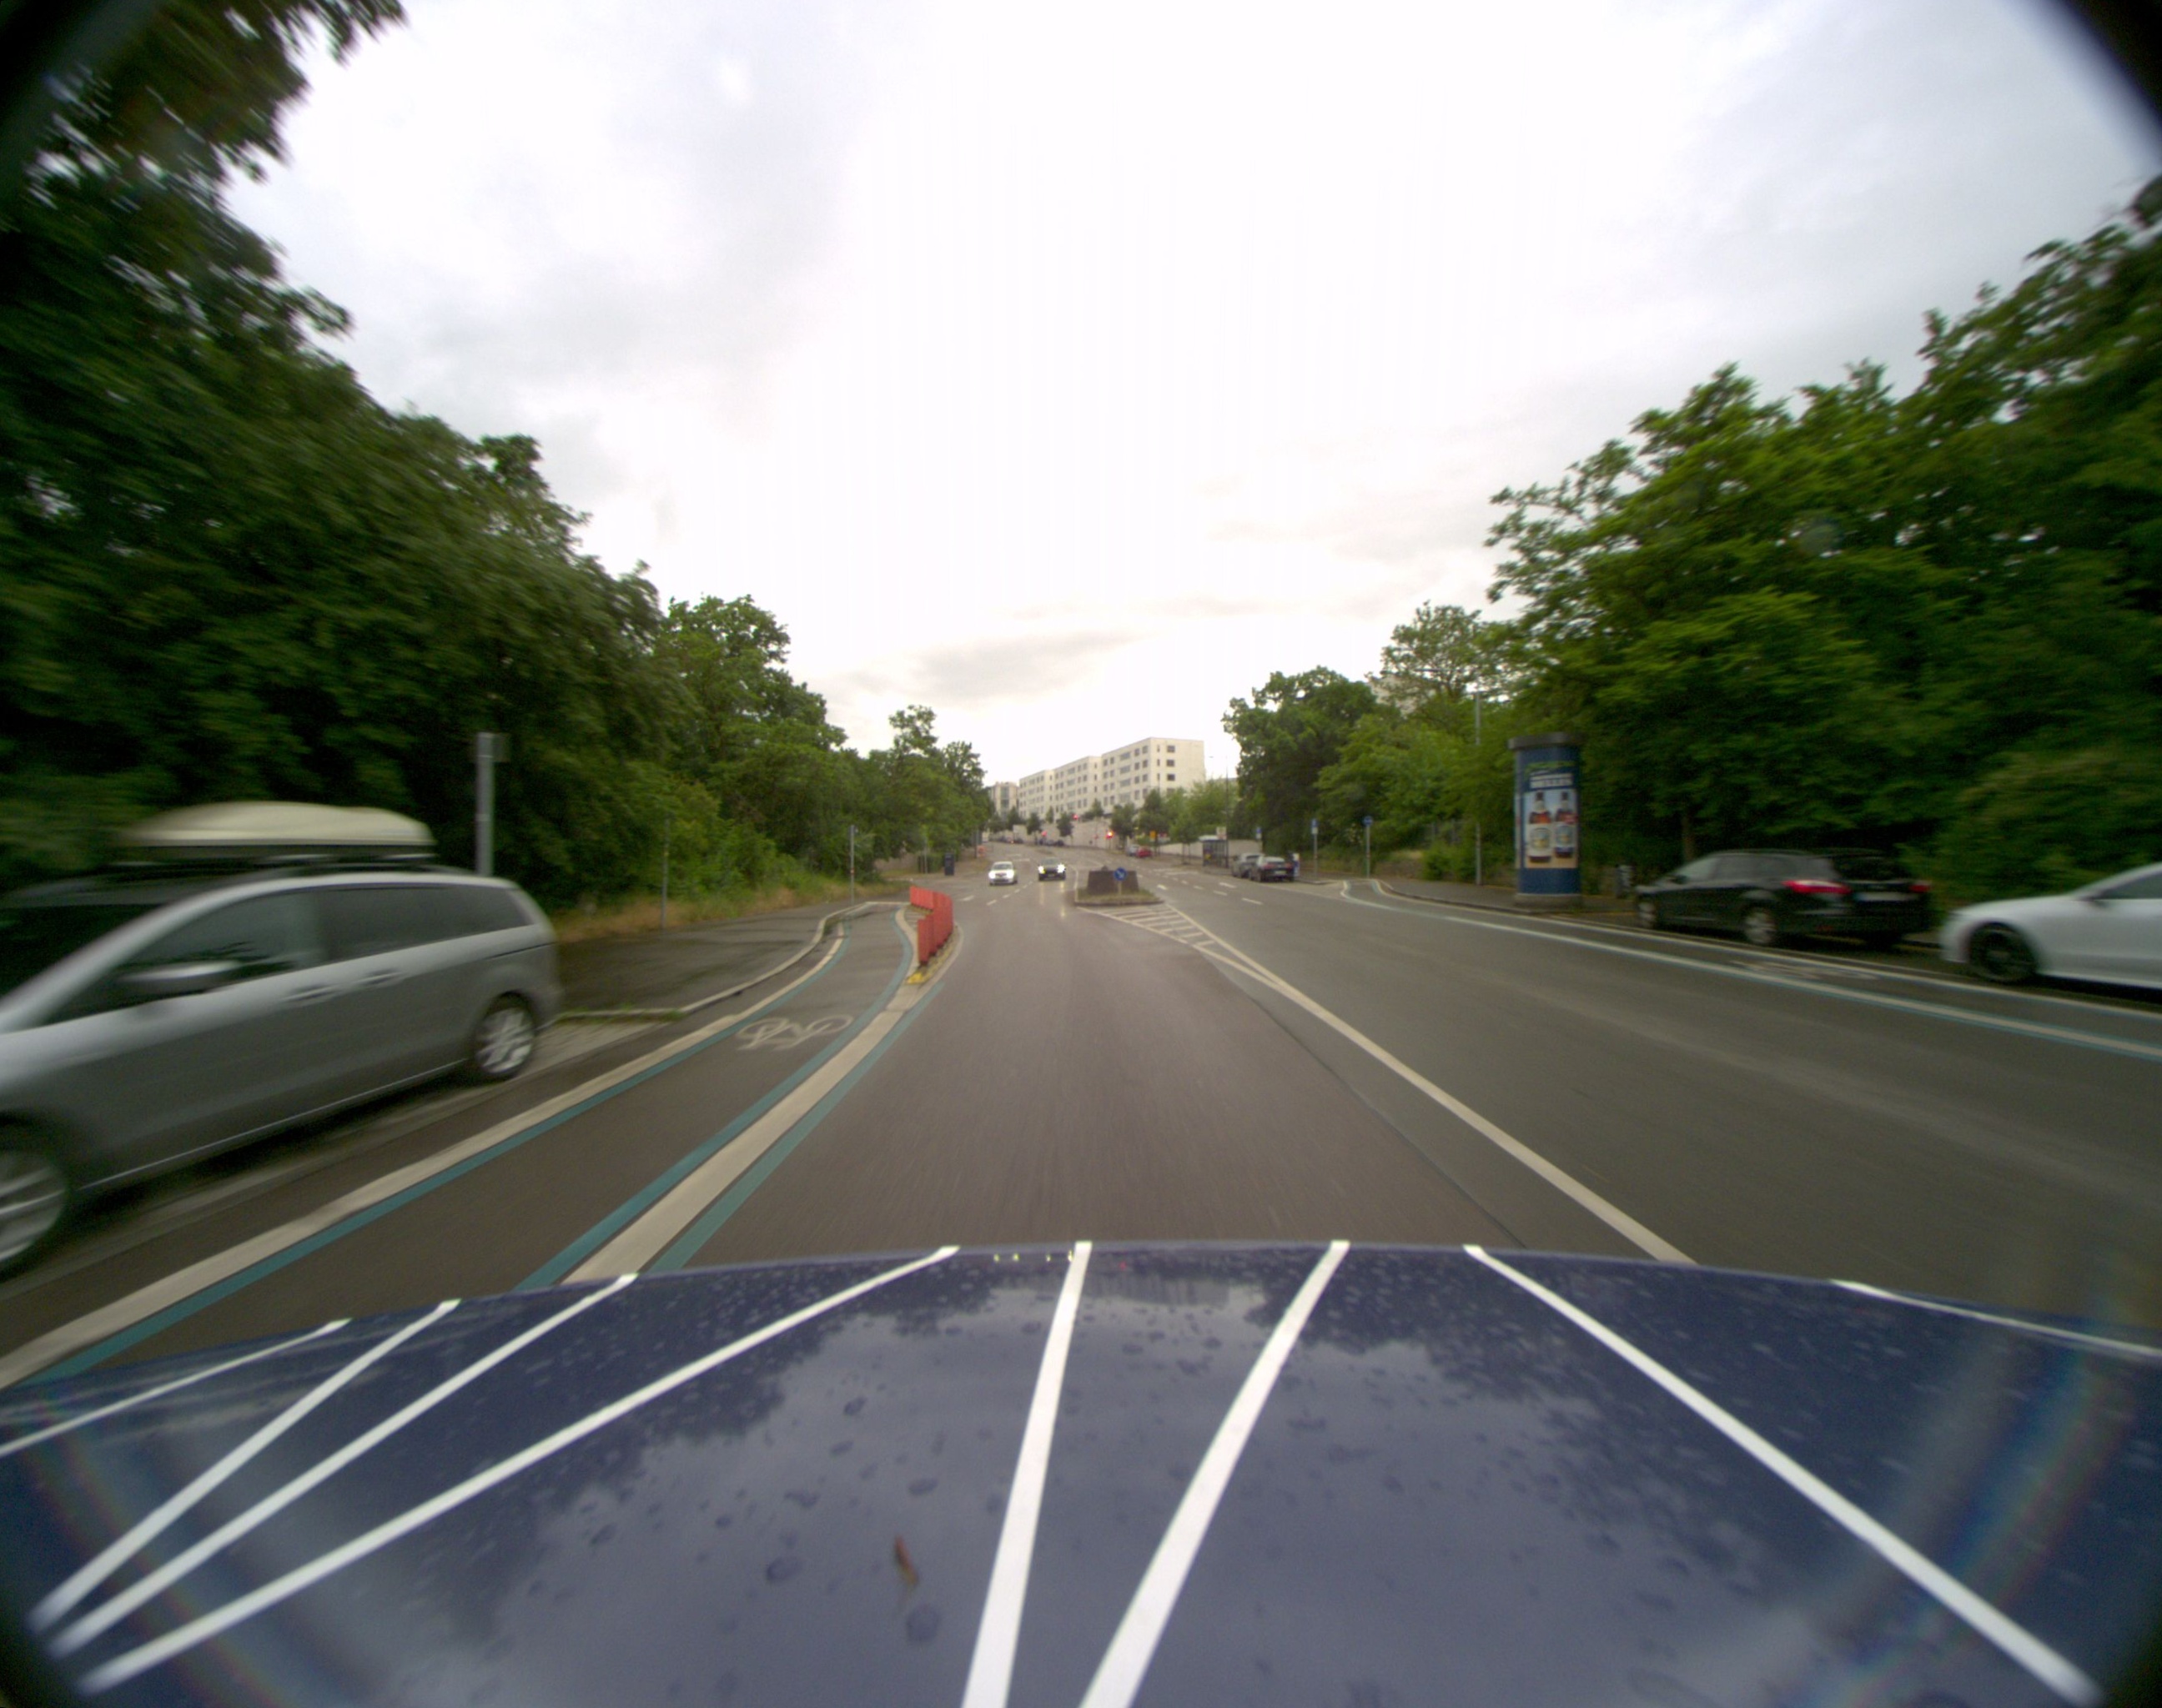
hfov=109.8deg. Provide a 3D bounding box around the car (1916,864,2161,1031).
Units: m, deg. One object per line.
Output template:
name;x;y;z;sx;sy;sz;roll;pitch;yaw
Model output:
car;10.516;0.842;6.507;1.722;1.451;4.709;-1;0;3

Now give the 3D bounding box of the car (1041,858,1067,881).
car;-2.063;1.140;57.617;1.830;1.584;3.998;-2;1;-4

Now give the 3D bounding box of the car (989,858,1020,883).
car;-5.260;1.133;52.563;1.927;1.652;3.999;-1;0;-3

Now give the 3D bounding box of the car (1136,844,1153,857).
car;8.566;-0.511;102.786;1.670;1.578;4.213;0;2;-6

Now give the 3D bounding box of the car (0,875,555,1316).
car;-5.131;1.016;3.951;1.827;1.605;4.251;-3;0;-2

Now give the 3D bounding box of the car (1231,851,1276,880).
car;10.724;0.679;47.626;1.845;1.580;4.928;-2;1;2

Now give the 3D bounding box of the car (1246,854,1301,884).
car;10.367;0.746;41.346;1.911;1.406;4.783;-2;1;2

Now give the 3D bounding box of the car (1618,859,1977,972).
car;11.035;0.831;12.291;1.753;1.436;4.589;-1;0;5

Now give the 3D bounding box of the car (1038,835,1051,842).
car;-8.840;-3.797;183.462;1.792;1.623;3.991;0;2;-23

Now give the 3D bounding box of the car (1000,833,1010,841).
car;-21.655;-4.892;217.113;1.927;2.002;4.378;-2;1;-20

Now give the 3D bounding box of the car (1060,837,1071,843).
car;-3.595;-3.220;173.934;1.683;1.451;2.690;0;2;-23

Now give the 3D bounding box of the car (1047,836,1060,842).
car;-6.470;-3.538;178.793;1.866;1.470;3.991;-1;2;-23

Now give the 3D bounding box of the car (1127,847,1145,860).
car;7.891;-0.049;109.443;1.769;1.644;4.879;-2;2;-5

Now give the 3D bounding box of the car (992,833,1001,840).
car;-25.642;-5.338;230.330;1.927;2.002;4.378;-2;1;-20
